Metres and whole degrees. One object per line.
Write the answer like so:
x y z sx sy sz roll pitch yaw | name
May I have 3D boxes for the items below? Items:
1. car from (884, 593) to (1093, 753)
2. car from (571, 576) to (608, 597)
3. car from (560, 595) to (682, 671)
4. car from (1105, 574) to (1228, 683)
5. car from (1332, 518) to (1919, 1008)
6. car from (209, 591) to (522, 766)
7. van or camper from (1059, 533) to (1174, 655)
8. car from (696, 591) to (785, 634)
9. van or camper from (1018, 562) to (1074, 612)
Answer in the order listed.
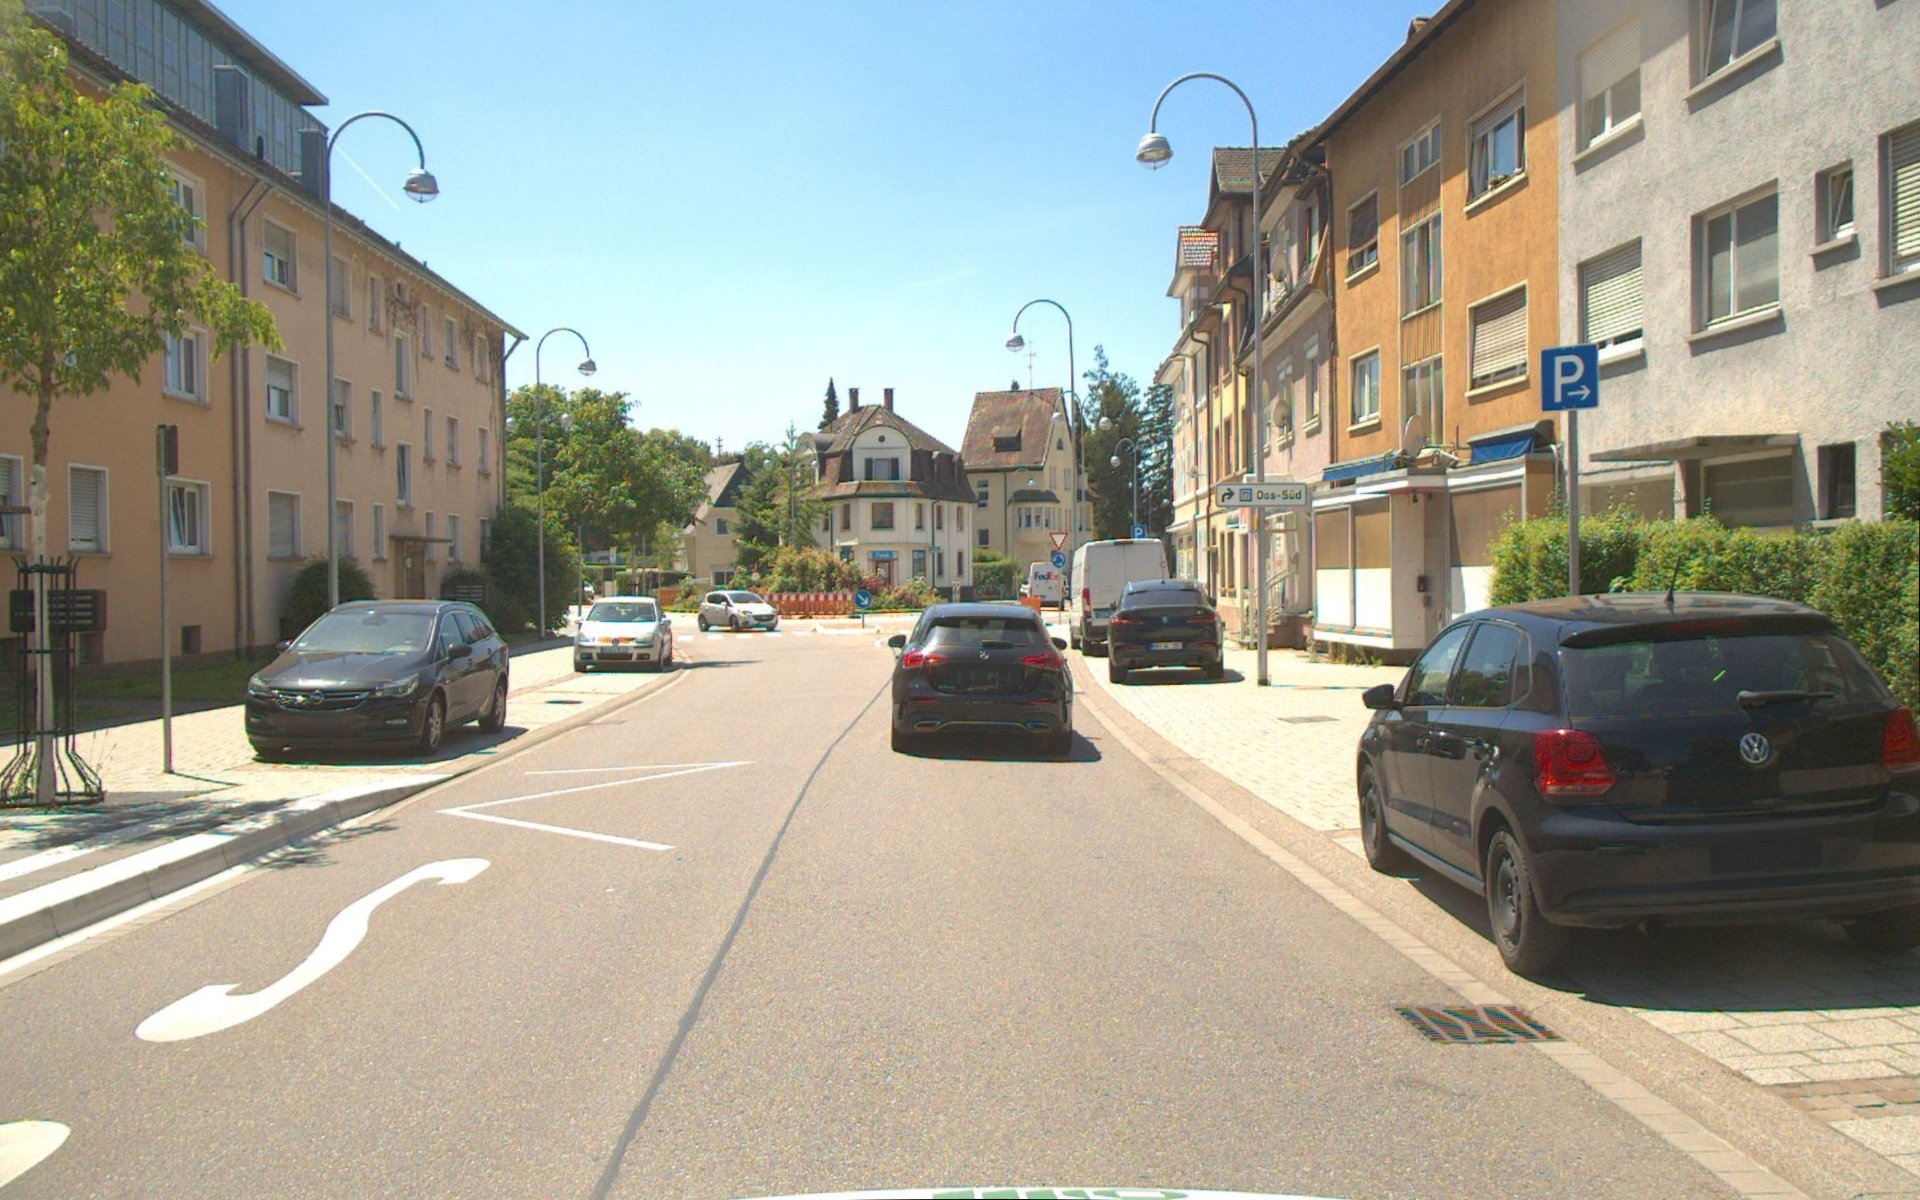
0.232 0.701 17.262 1.914 1.452 3.999 1 -1 -1 | car
-30.785 -1.118 137.433 1.747 1.625 3.923 0 -2 7 | car
-6.908 0.639 34.094 1.954 1.445 4.084 1 0 -5 | car
3.488 0.446 27.981 1.855 1.635 4.368 -2 0 7 | car
3.020 0.543 7.821 1.692 1.661 4.001 -3 1 2 | car
-6.045 0.708 17.443 1.820 1.533 4.560 1 1 -3 | car
3.631 -0.152 39.427 2.120 2.634 5.766 -2 0 0 | van or camper
-8.144 0.447 61.194 1.647 1.523 3.709 -1 0 -37 | car
4.717 -0.702 89.864 2.159 2.656 4.003 0 0 16 | van or camper
